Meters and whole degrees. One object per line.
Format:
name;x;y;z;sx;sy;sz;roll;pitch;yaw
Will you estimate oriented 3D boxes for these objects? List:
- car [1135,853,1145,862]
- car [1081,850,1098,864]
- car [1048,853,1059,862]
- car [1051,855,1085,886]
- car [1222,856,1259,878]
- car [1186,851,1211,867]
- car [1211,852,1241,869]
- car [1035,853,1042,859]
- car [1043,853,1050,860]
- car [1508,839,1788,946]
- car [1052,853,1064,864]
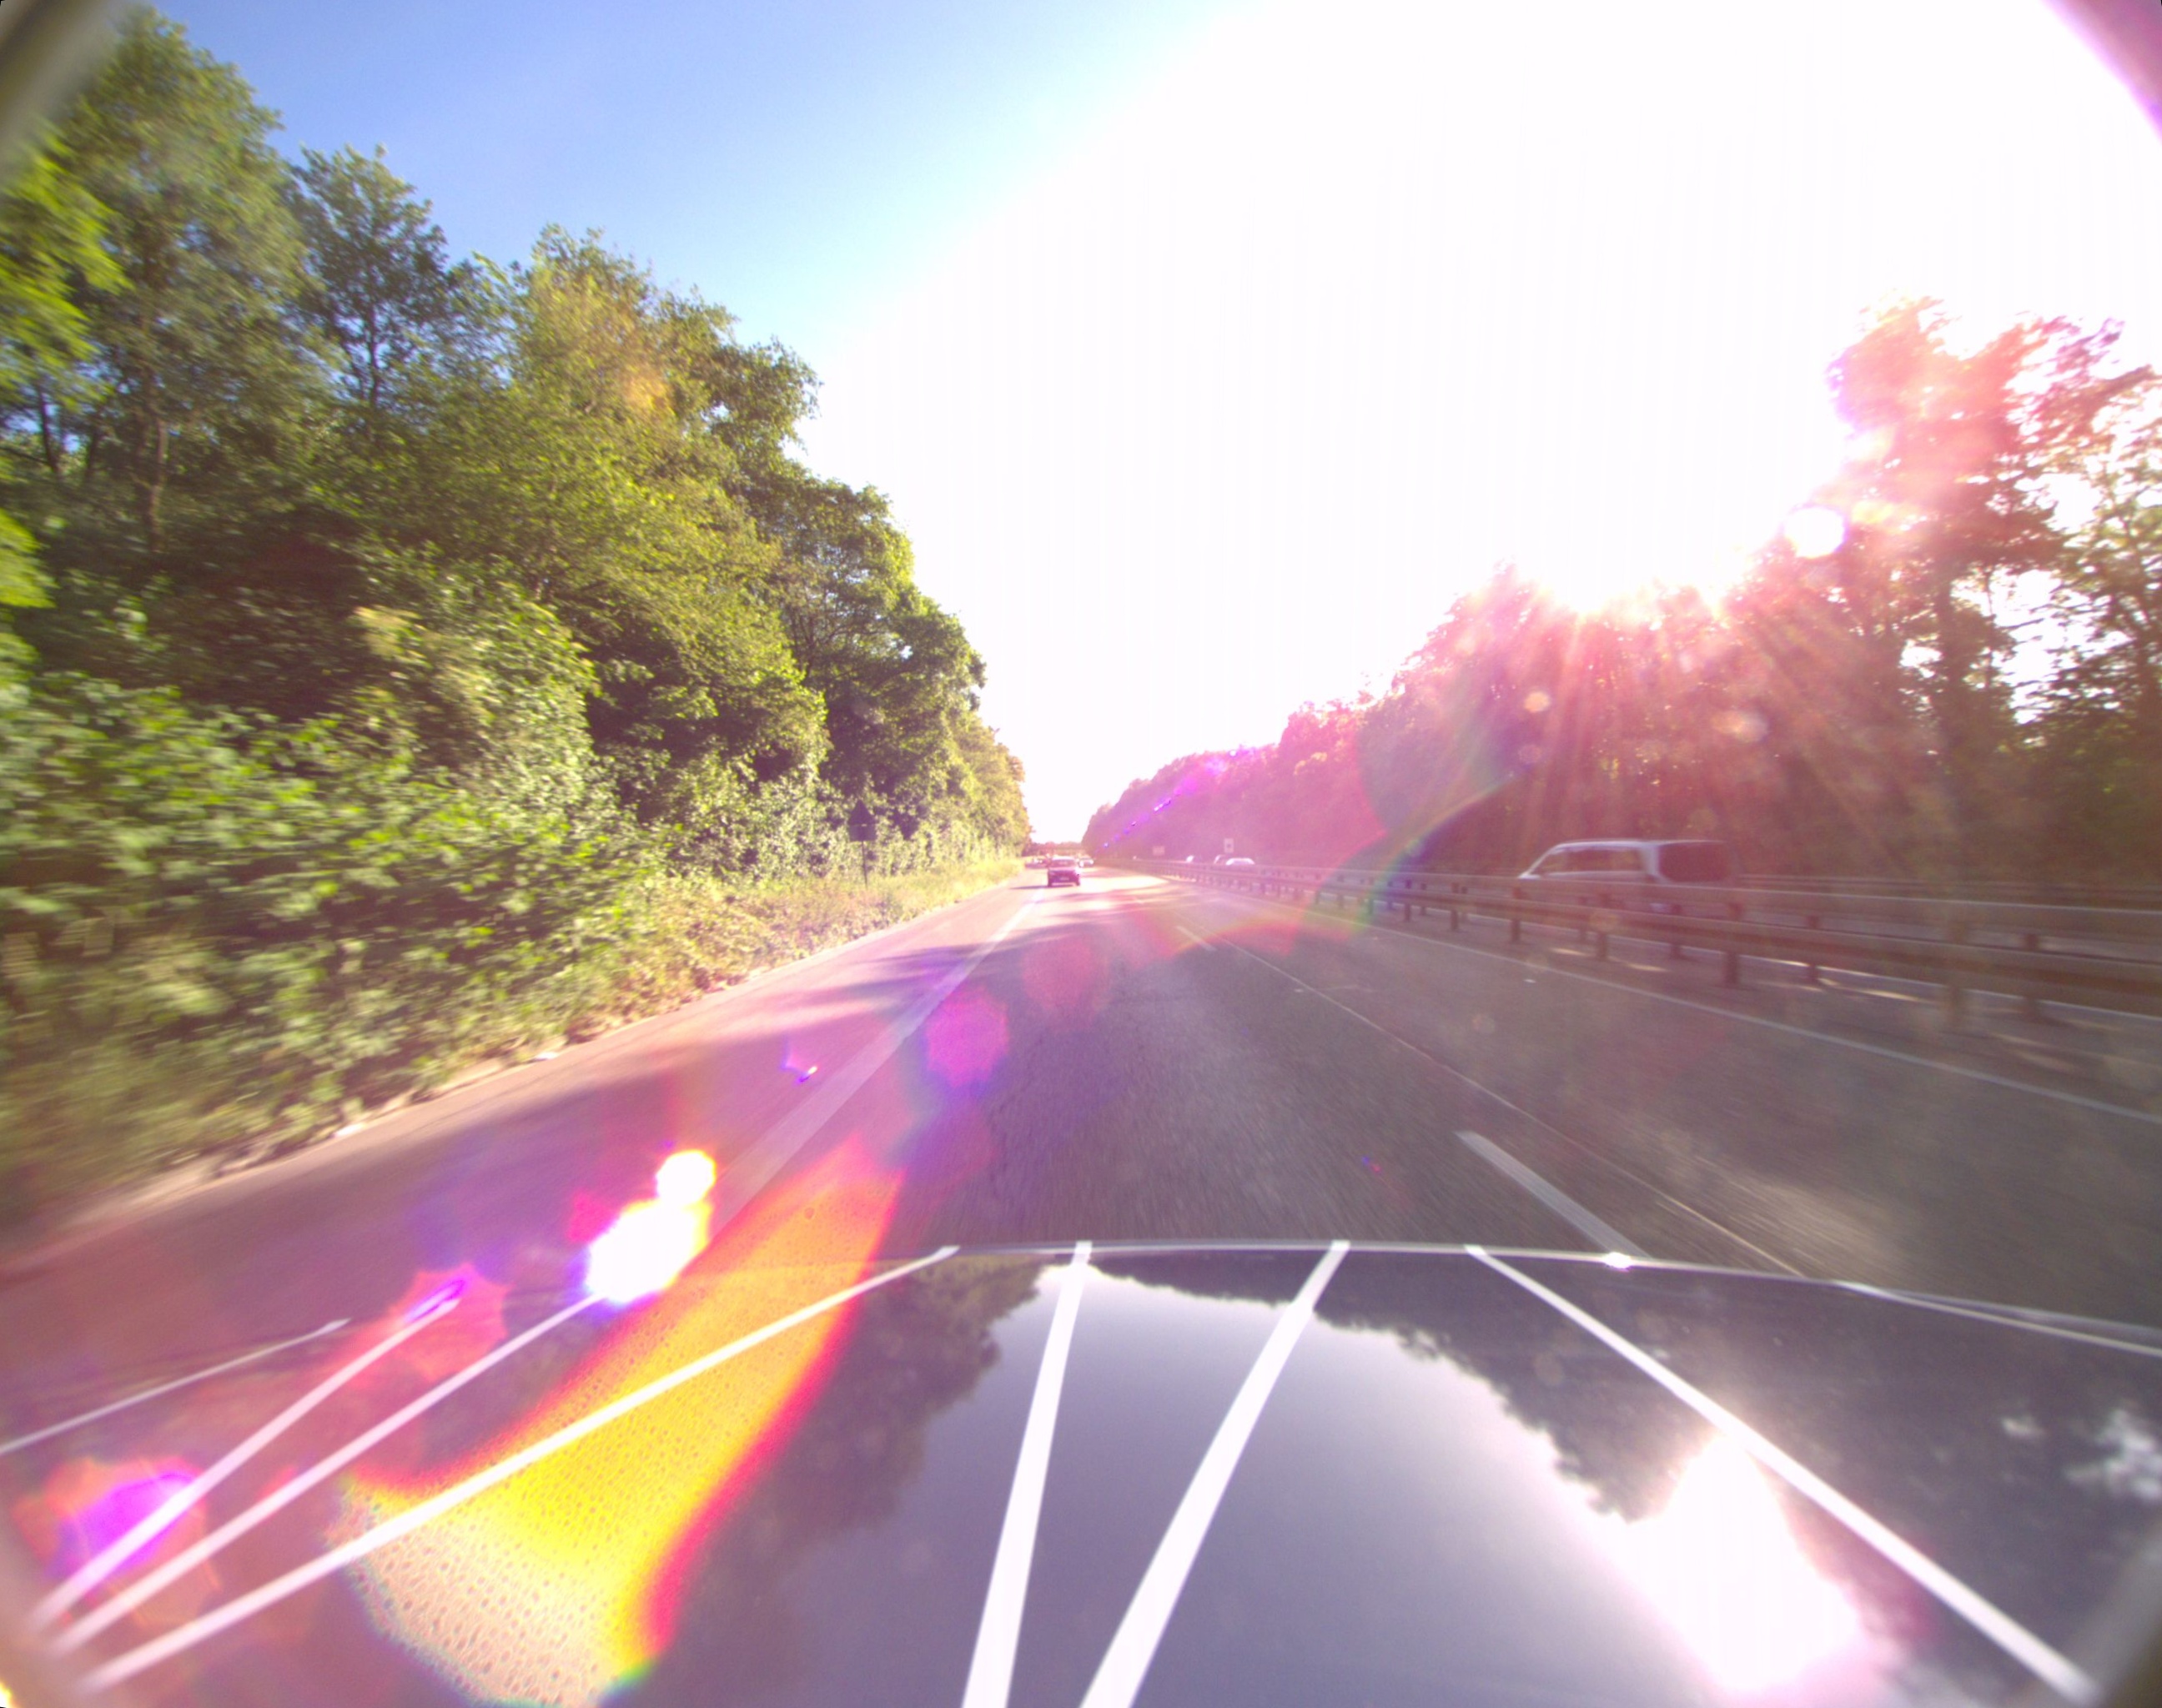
car;10.575;0.556;136.551;1.418;1.610;2.874;0;0;-2
car;1.132;0.385;102.201;1.999;1.793;3.998;1;0;-4
car;-4.655;0.604;129.790;1.713;1.565;3.422;-2;0;-1
car;-0.705;0.870;41.360;1.713;1.565;3.422;-2;0;-1
car;10.933;0.877;52.314;1.601;1.444;4.345;1;0;0
car;13.756;0.579;89.035;1.999;1.739;4.549;1;0;-2
car;14.489;0.619;76.107;1.999;1.576;3.999;1;0;-2
car;-11.501;0.512;206.843;1.713;1.565;3.422;-2;0;-1
car;-8.050;0.608;177.601;1.713;1.565;3.422;-2;0;-1
car;11.725;0.696;16.376;1.892;1.892;5.414;1;0;-1
car;-3.268;0.597;109.158;1.713;1.565;3.422;-2;0;-1
